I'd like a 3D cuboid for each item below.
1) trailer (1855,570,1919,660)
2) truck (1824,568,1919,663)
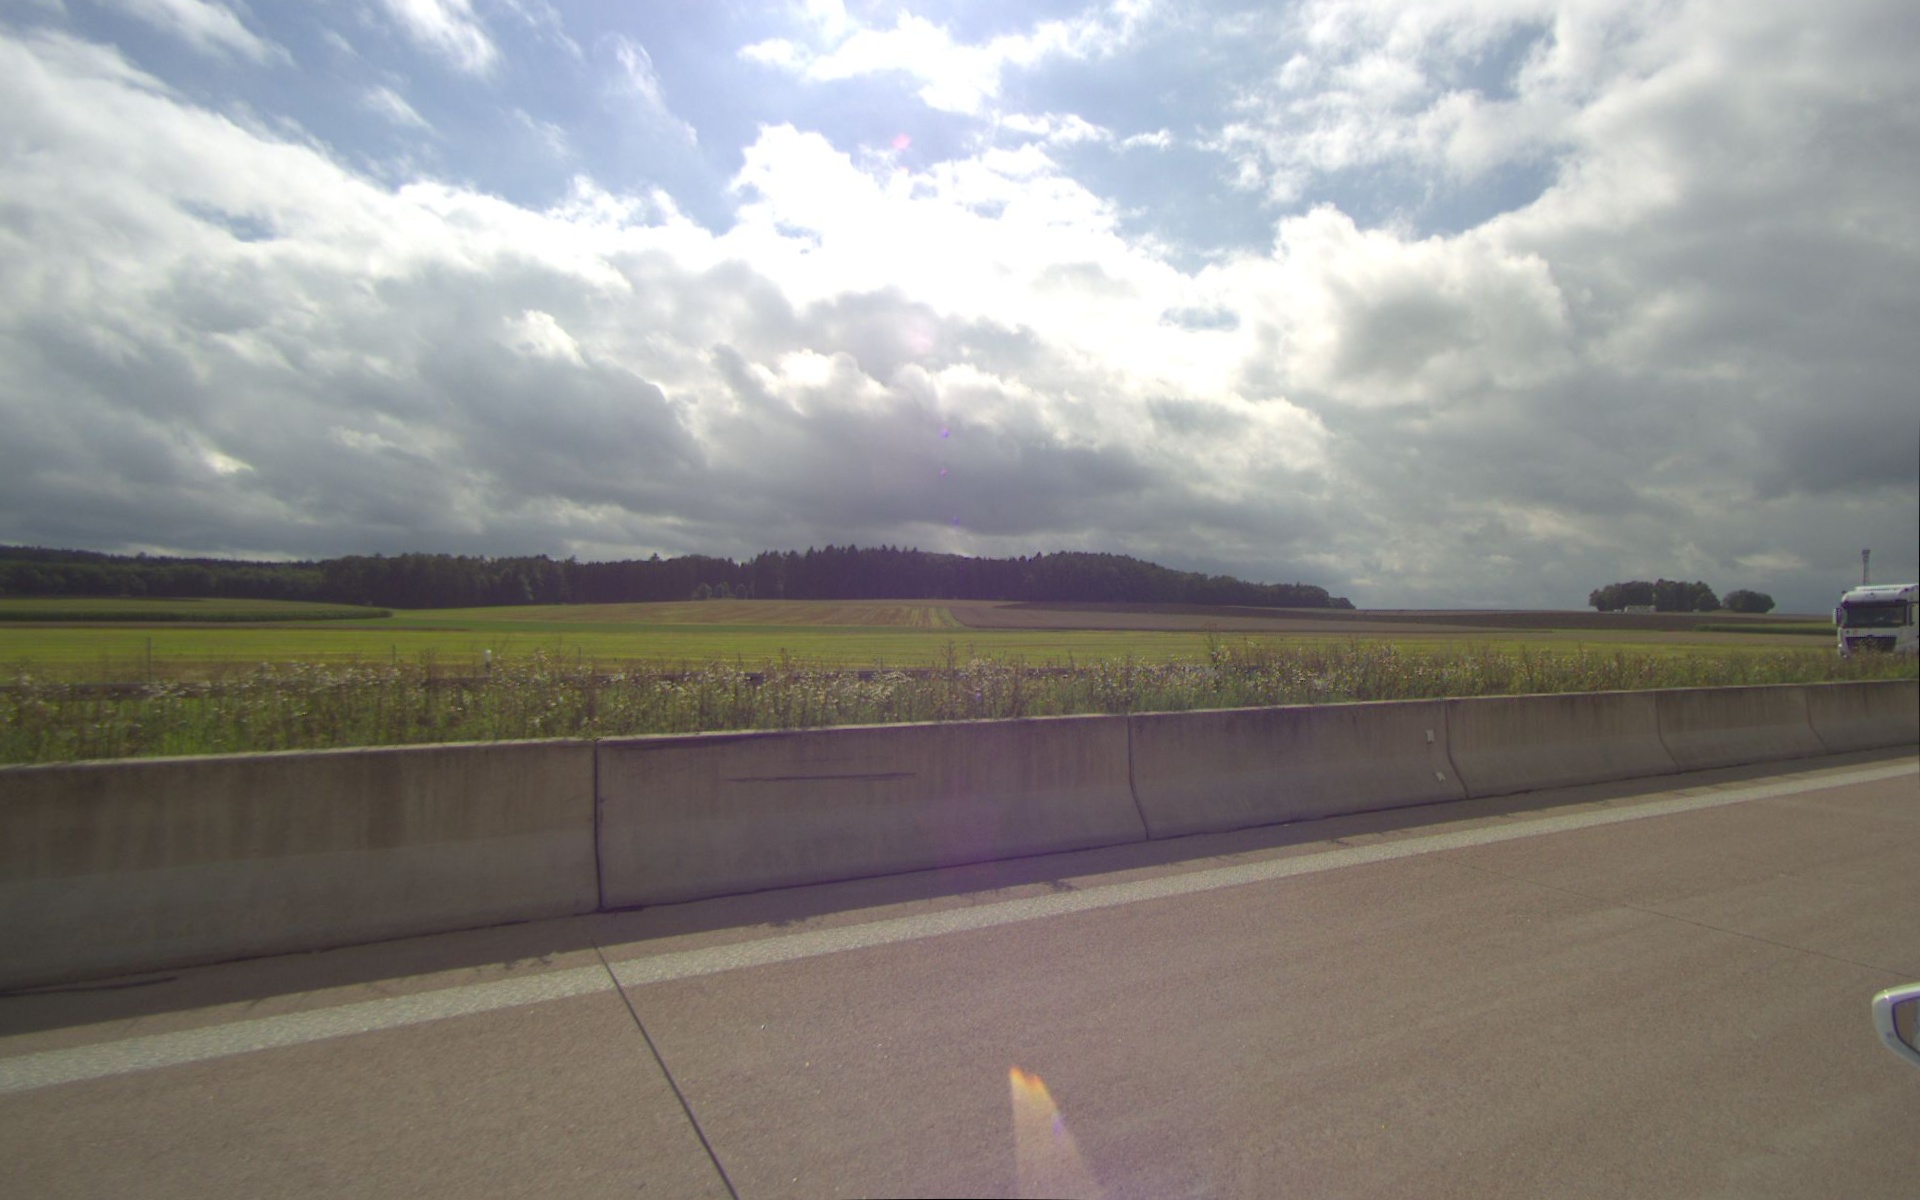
[{"bbox_3d":[48.300,0.841,49.052,14.165,4.011,2.756,1,-2,-31],"label":"trailer"},{"bbox_3d":[41.489,0.716,44.947,5.229,4.011,2.757,1,-2,-31],"label":"truck"}]
